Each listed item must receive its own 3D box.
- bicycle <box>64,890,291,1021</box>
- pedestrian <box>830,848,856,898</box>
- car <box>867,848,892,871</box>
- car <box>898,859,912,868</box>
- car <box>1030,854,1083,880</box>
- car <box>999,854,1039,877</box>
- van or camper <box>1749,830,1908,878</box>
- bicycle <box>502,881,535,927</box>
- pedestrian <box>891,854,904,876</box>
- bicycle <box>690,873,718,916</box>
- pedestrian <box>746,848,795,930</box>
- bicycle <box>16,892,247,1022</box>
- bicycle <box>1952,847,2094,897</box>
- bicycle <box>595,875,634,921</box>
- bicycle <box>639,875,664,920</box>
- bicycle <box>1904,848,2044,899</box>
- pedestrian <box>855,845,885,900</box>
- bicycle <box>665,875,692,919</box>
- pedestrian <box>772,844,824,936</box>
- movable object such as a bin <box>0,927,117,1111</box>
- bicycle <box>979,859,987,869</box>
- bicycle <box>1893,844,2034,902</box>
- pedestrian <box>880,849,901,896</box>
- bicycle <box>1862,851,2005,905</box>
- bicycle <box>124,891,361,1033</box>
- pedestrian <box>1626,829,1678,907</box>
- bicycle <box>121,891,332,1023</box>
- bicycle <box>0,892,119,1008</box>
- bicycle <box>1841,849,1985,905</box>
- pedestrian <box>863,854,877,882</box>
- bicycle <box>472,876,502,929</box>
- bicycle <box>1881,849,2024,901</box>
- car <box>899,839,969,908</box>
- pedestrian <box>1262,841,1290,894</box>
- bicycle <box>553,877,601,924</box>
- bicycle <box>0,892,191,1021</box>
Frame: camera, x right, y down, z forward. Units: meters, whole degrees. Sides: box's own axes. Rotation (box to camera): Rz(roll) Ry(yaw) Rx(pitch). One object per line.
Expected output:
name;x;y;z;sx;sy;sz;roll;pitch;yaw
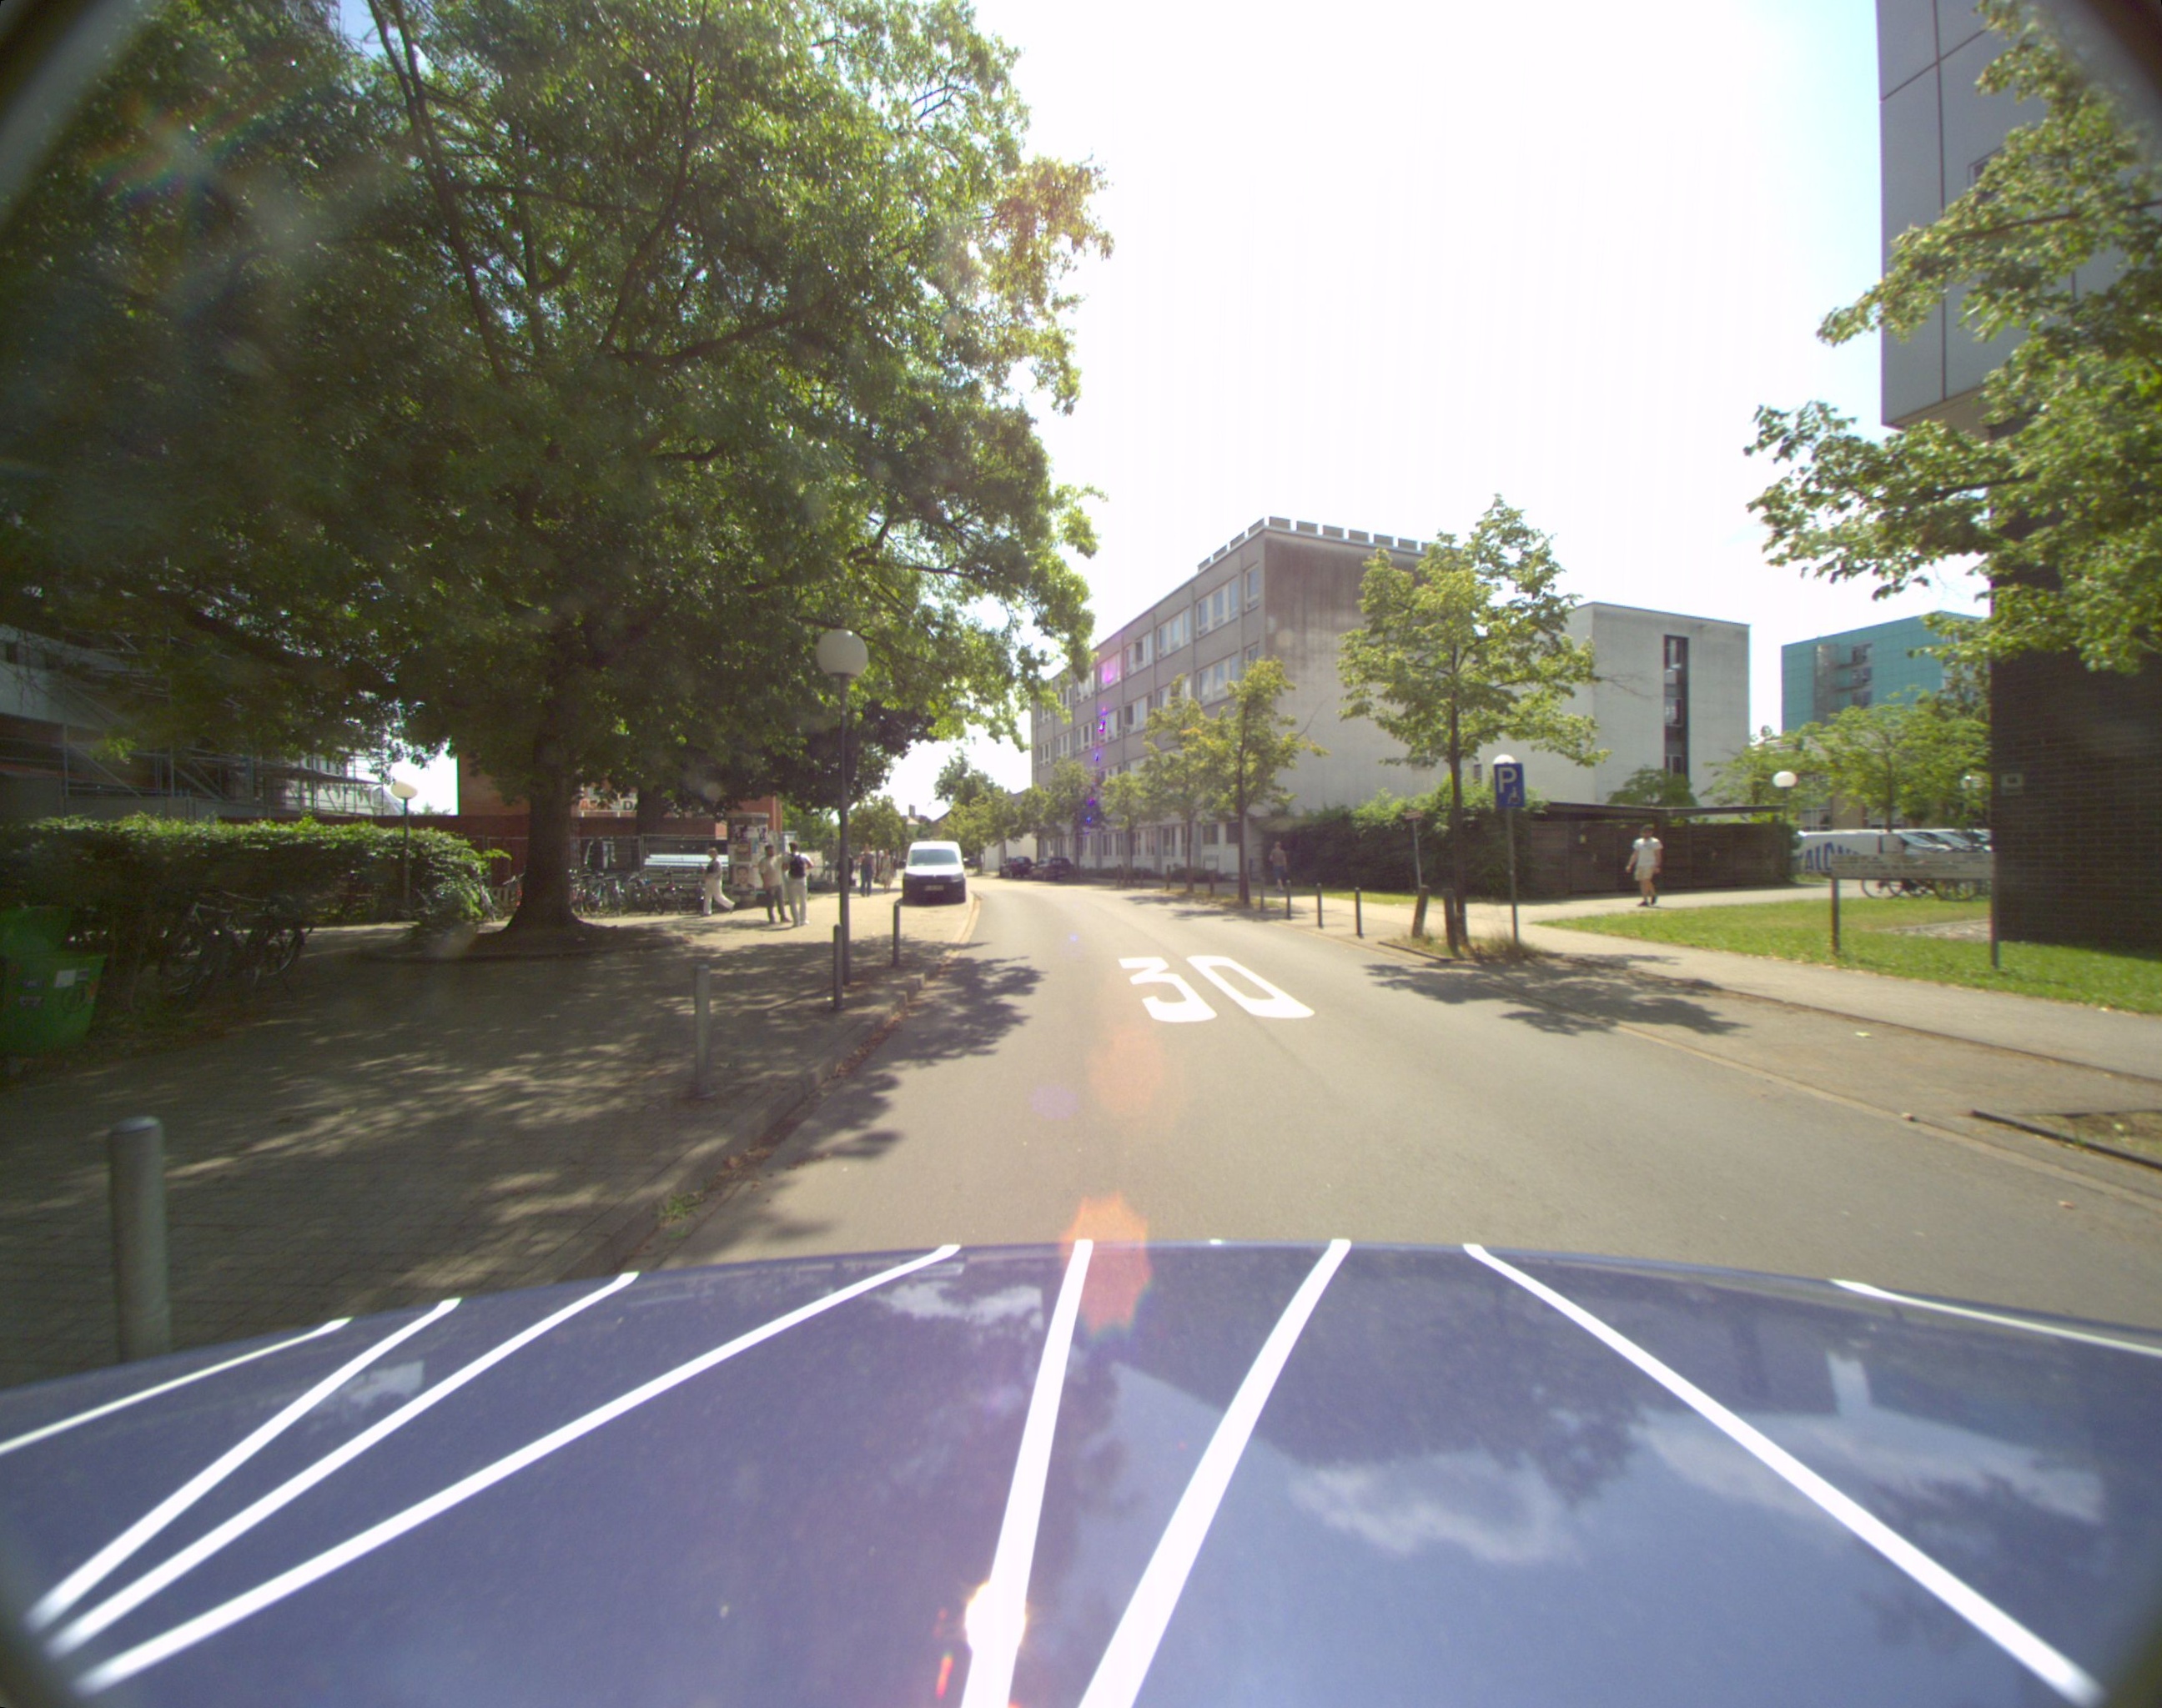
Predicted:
bicycle;-9.430;0.994;8.056;0.500;1.112;1.933;-1;1;-15
pedestrian;-7.781;0.619;24.848;0.671;1.590;0.984;-1;0;-9
car;-23.386;0.648;88.069;2.068;2.528;5.839;-1;0;-22
car;-27.310;1.433;117.626;1.703;1.287;3.756;-1;0;-20
car;-1.518;0.772;45.883;1.785;1.452;4.251;-2;1;-22
car;-4.460;0.773;54.131;1.704;1.555;4.060;-1;0;-22
van or camper;29.214;0.005;29.845;1.758;1.729;4.093;-1;0;-23
bicycle;-12.973;1.124;17.506;0.515;0.951;1.803;0;1;-39
pedestrian;-15.729;0.945;65.205;0.827;1.807;1.142;-1;1;-25
bicycle;-9.688;1.010;19.518;0.515;1.010;1.804;0;0;-30
pedestrian;-6.614;0.722;16.194;0.562;1.700;0.747;0;1;34
bicycle;-10.002;1.019;8.120;0.500;1.112;1.869;-1;1;-15
bicycle;22.294;0.399;18.046;0.503;1.116;2.046;-1;0;-22
bicycle;-11.423;1.050;18.633;0.515;1.010;1.805;0;0;-22
bicycle;-10.795;1.073;19.098;0.515;1.010;1.804;0;0;-30
bicycle;20.788;0.439;17.758;0.582;1.116;2.046;-1;0;-22
pedestrian;-6.887;0.593;24.844;0.852;1.753;0.715;-1;1;-9
bicycle;-10.247;1.062;19.331;0.515;1.010;1.804;0;0;-30
pedestrian;-5.738;0.713;15.406;0.628;1.811;0.725;0;1;34
movable object such as a bin;-6.713;1.027;4.830;0.491;1.066;0.504;-1;1;-13
bicycle;-10.102;1.030;78.564;0.545;1.055;1.896;-1;0;-15
bicycle;20.217;0.413;17.471;0.582;1.235;2.046;-1;0;-22
pedestrian;-6.894;0.666;27.501;0.652;1.656;0.903;-1;1;-19
bicycle;18.878;0.500;16.899;0.582;1.116;2.046;-1;0;-22
bicycle;-8.113;0.972;7.490;0.621;1.112;1.869;-1;1;-15
pedestrian;12.813;0.313;17.059;0.617;1.710;0.688;-1;1;-12
bicycle;-8.874;1.004;8.014;0.500;1.112;1.869;-1;1;-15
bicycle;-11.224;1.002;7.873;0.500;1.112;1.869;-1;1;-15
bicycle;18.183;0.481;16.675;0.582;1.155;2.046;-1;0;-22
pedestrian;-13.526;0.875;48.670;0.698;1.770;0.785;-1;1;-27
bicycle;-13.461;1.066;17.200;0.501;1.071;1.803;0;1;-39
bicycle;19.633;0.450;17.189;0.582;1.116;2.046;-1;0;-22
car;-4.456;0.539;23.258;1.855;1.880;4.885;0;0;-10
pedestrian;6.611;0.459;25.783;0.586;1.754;0.910;-1;1;-8
bicycle;-12.074;1.089;18.256;0.515;1.010;1.805;0;0;-19
bicycle;-10.568;1.014;8.004;0.500;1.112;1.937;-1;1;-15
